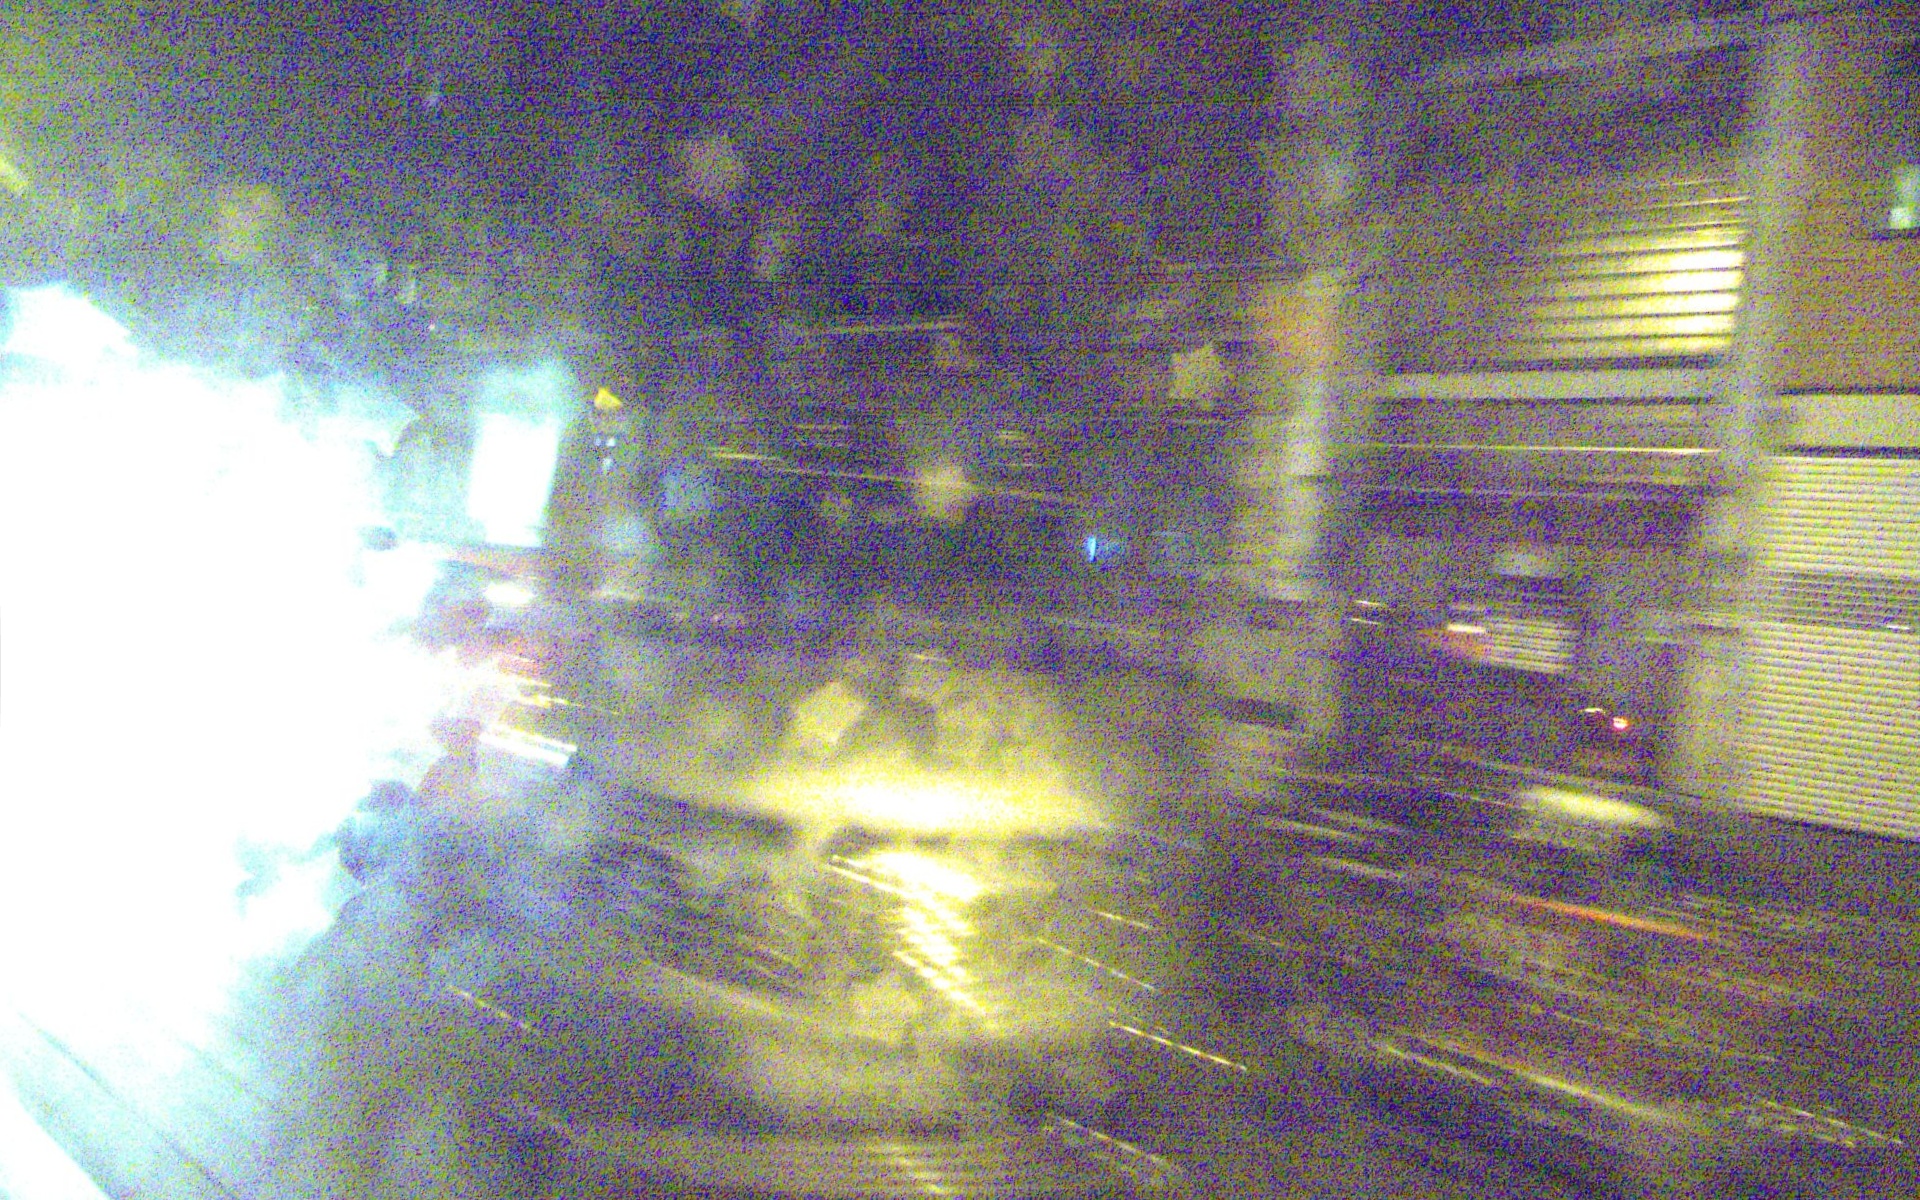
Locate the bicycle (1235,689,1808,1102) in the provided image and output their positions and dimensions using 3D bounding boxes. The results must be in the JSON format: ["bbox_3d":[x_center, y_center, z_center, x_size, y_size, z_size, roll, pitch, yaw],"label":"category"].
[{"bbox_3d":[2.174,1.098,4.158,1.830,1.186,0.586,7,0,22],"label":"bicycle"}]

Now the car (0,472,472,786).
[{"bbox_3d":[-5.148,0.093,6.982,1.531,1.561,3.652,6,1,2],"label":"car"}]

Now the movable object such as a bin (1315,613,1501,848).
[{"bbox_3d":[3.351,0.888,7.489,0.982,1.472,1.208,7,5,31],"label":"movable object such as a bin"}]

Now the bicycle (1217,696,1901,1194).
[{"bbox_3d":[1.948,1.073,3.566,1.830,1.186,0.586,7,0,22],"label":"bicycle"}]

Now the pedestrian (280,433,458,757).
[{"bbox_3d":[-3.995,-0.033,6.840,0.665,2.041,0.643,6,3,1],"label":"pedestrian"}]

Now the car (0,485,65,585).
[{"bbox_3d":[-14.857,-1.020,13.876,1.658,1.470,3.994,6,1,-7],"label":"car"}]

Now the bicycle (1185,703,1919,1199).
[{"bbox_3d":[1.699,1.043,2.973,1.830,1.186,0.586,7,0,22],"label":"bicycle"}]

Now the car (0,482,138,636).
[{"bbox_3d":[-10.637,-0.501,9.962,1.772,1.572,3.996,6,1,-3],"label":"car"}]

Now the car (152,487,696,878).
[{"bbox_3d":[-2.765,0.354,6.070,1.549,1.561,3.397,6,1,-5],"label":"car"}]

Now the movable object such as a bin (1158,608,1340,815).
[{"bbox_3d":[2.324,0.812,8.025,0.982,1.392,1.254,7,5,31],"label":"movable object such as a bin"}]

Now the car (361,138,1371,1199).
[{"bbox_3d":[-0.360,0.286,4.462,1.912,2.276,4.720,6,1,-5],"label":"car"}]

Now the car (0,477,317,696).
[{"bbox_3d":[-8.021,-0.222,9.156,1.964,1.572,3.995,6,1,-6],"label":"car"}]
